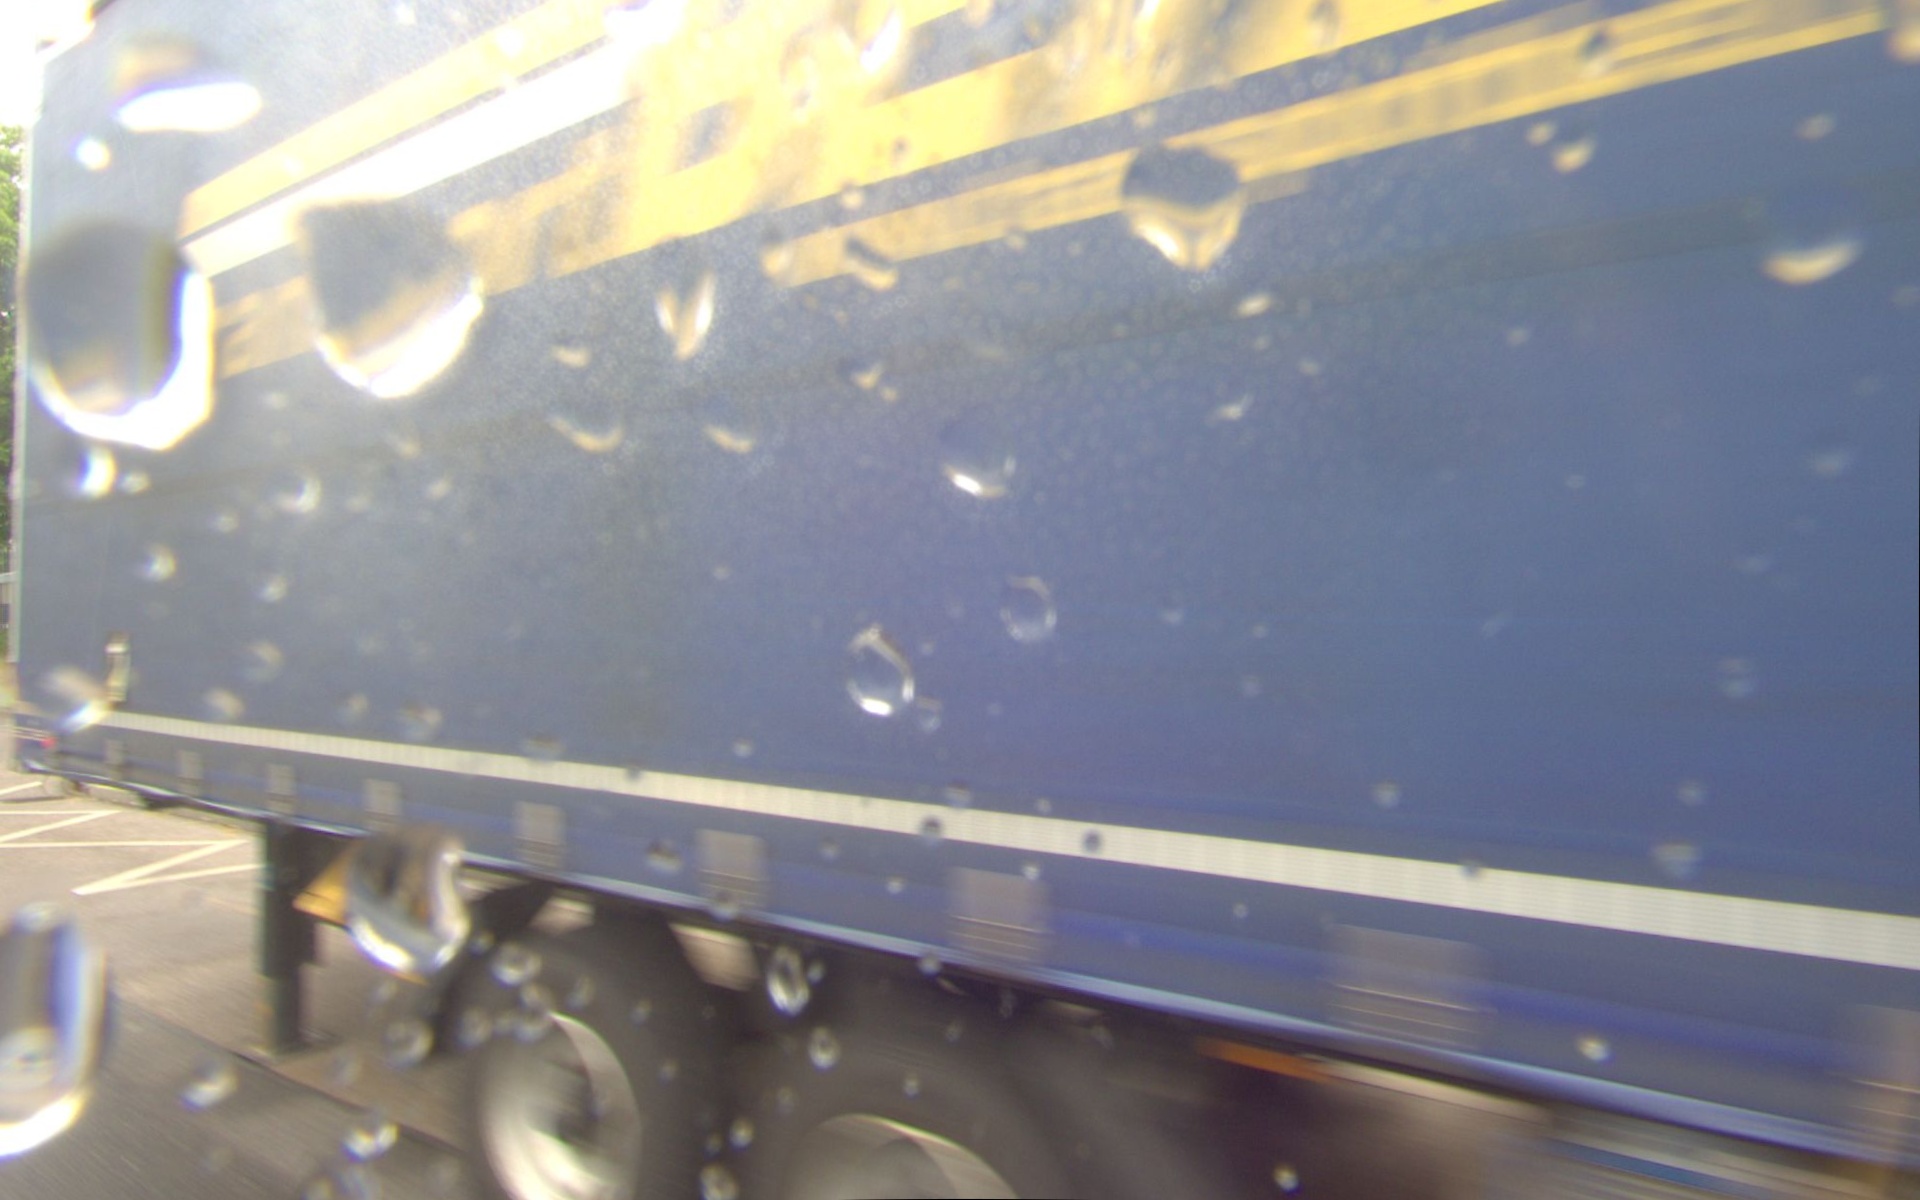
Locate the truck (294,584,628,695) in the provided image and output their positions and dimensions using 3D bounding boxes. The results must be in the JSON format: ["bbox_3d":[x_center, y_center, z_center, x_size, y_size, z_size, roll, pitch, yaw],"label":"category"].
[{"bbox_3d":[-11.046,0.815,22.995,2.063,2.168,6.915,-1,-1,29],"label":"truck"}]

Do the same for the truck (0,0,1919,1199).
[{"bbox_3d":[-0.139,-0.266,3.119,7.637,3.656,2.738,-1,-3,31],"label":"truck"}]
